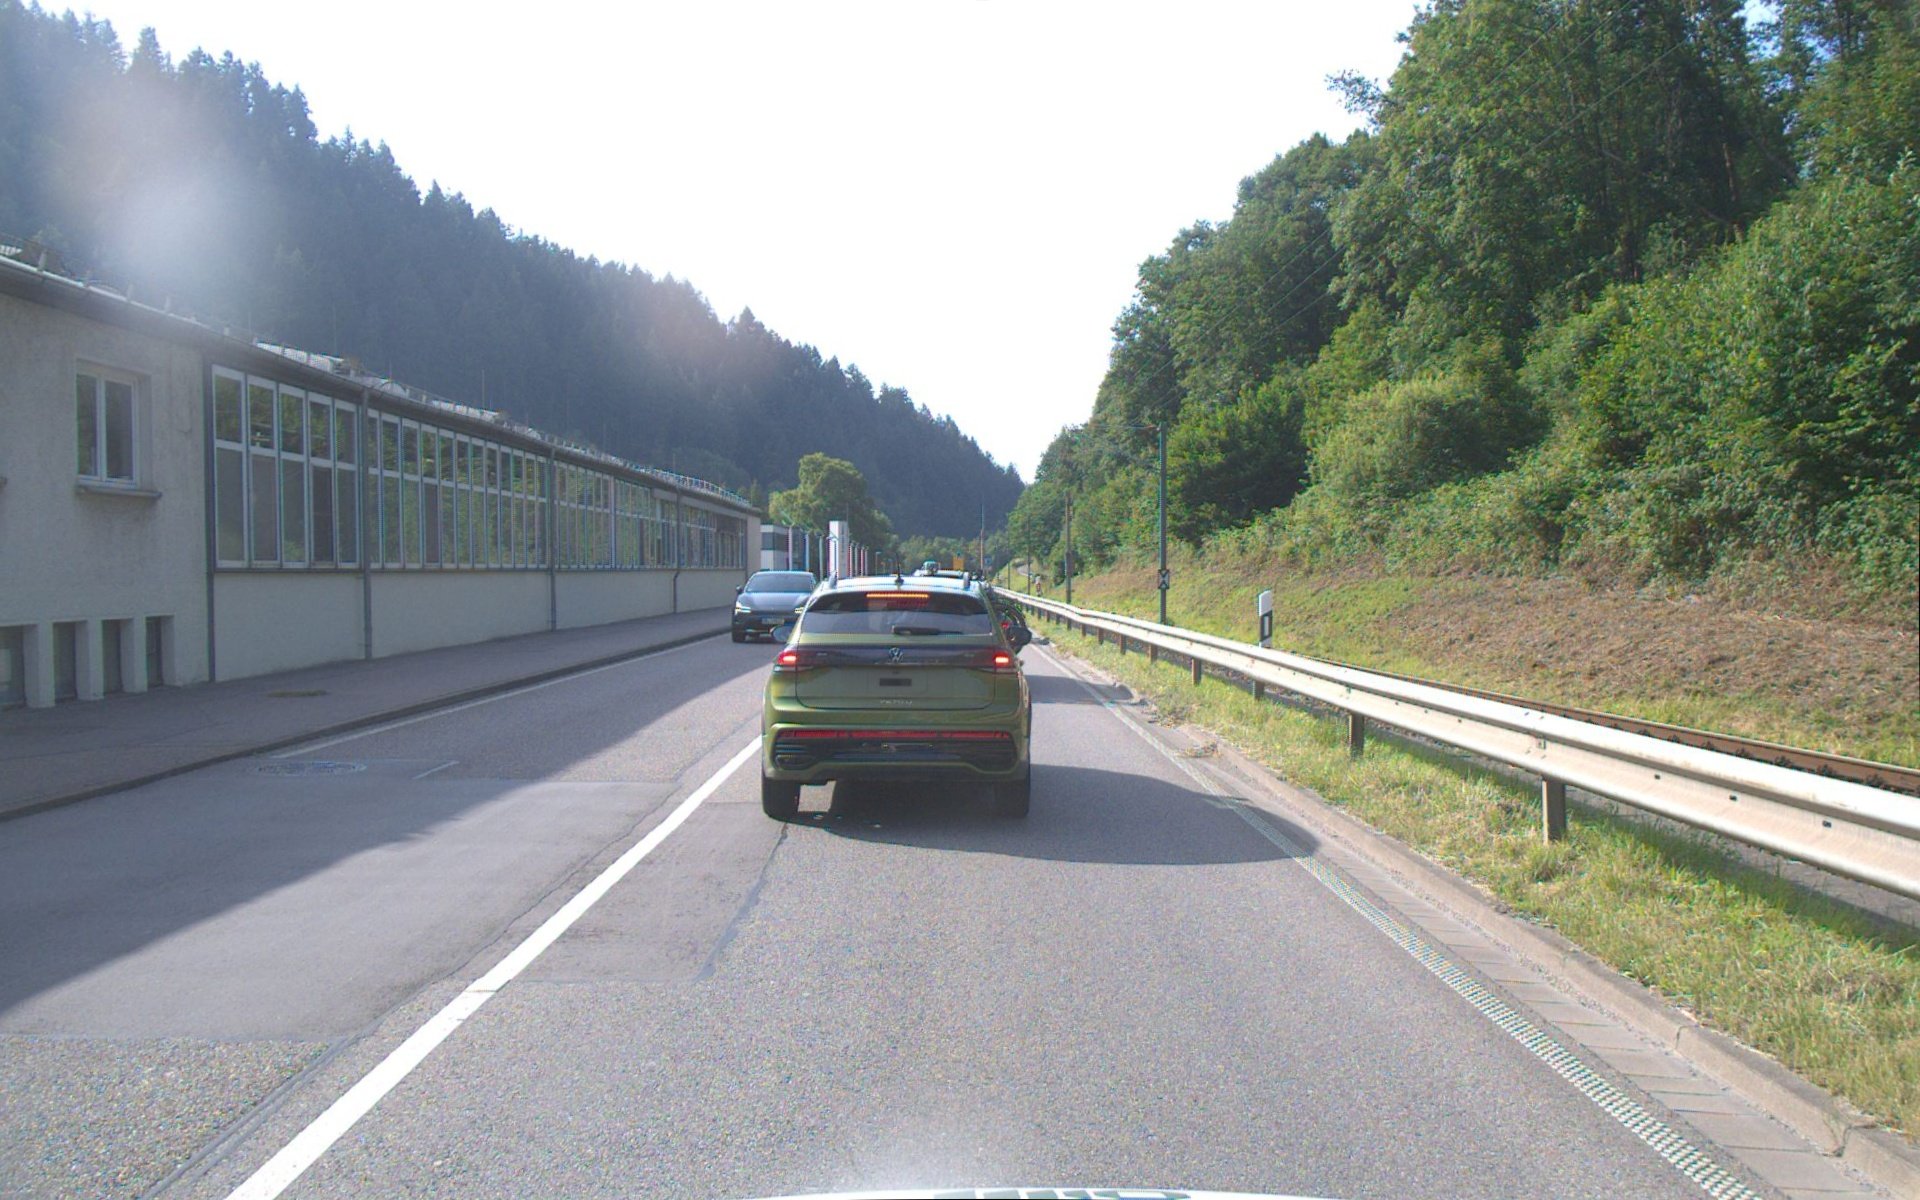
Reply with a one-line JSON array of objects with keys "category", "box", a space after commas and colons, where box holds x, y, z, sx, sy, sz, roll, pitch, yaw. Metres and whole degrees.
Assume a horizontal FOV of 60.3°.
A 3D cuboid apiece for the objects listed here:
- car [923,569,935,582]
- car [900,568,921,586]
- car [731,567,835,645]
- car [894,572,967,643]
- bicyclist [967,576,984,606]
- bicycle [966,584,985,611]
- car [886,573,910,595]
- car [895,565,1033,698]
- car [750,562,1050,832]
[{"category": "car", "box": [-4.916, -3.838, 261.502, 1.953, 2.049, 3.999, 1, 0, -2]}, {"category": "car", "box": [-4.361, -2.009, 146.028, 1.737, 1.516, 4.051, 2, 1, -1]}, {"category": "car", "box": [-3.986, 0.100, 37.815, 1.890, 1.609, 4.457, 2, 1, -1]}, {"category": "car", "box": [-0.747, 0.157, 41.099, 1.704, 1.630, 3.999, 1, 1, -2]}, {"category": "bicyclist", "box": [0.725, -0.448, 79.380, 0.766, 1.436, 0.675, 0, 0, -3]}, {"category": "bicycle", "box": [0.716, -0.121, 79.323, 0.795, 1.272, 2.122, 0, 1, -3]}, {"category": "car", "box": [-4.701, -1.223, 125.751, 1.684, 1.540, 4.198, 2, 1, -1]}, {"category": "car", "box": [-0.003, 0.366, 22.651, 1.704, 1.630, 3.999, 1, 1, -2]}, {"category": "car", "box": [-0.399, 0.535, 11.483, 1.704, 1.534, 3.999, 1, 1, -2]}]
